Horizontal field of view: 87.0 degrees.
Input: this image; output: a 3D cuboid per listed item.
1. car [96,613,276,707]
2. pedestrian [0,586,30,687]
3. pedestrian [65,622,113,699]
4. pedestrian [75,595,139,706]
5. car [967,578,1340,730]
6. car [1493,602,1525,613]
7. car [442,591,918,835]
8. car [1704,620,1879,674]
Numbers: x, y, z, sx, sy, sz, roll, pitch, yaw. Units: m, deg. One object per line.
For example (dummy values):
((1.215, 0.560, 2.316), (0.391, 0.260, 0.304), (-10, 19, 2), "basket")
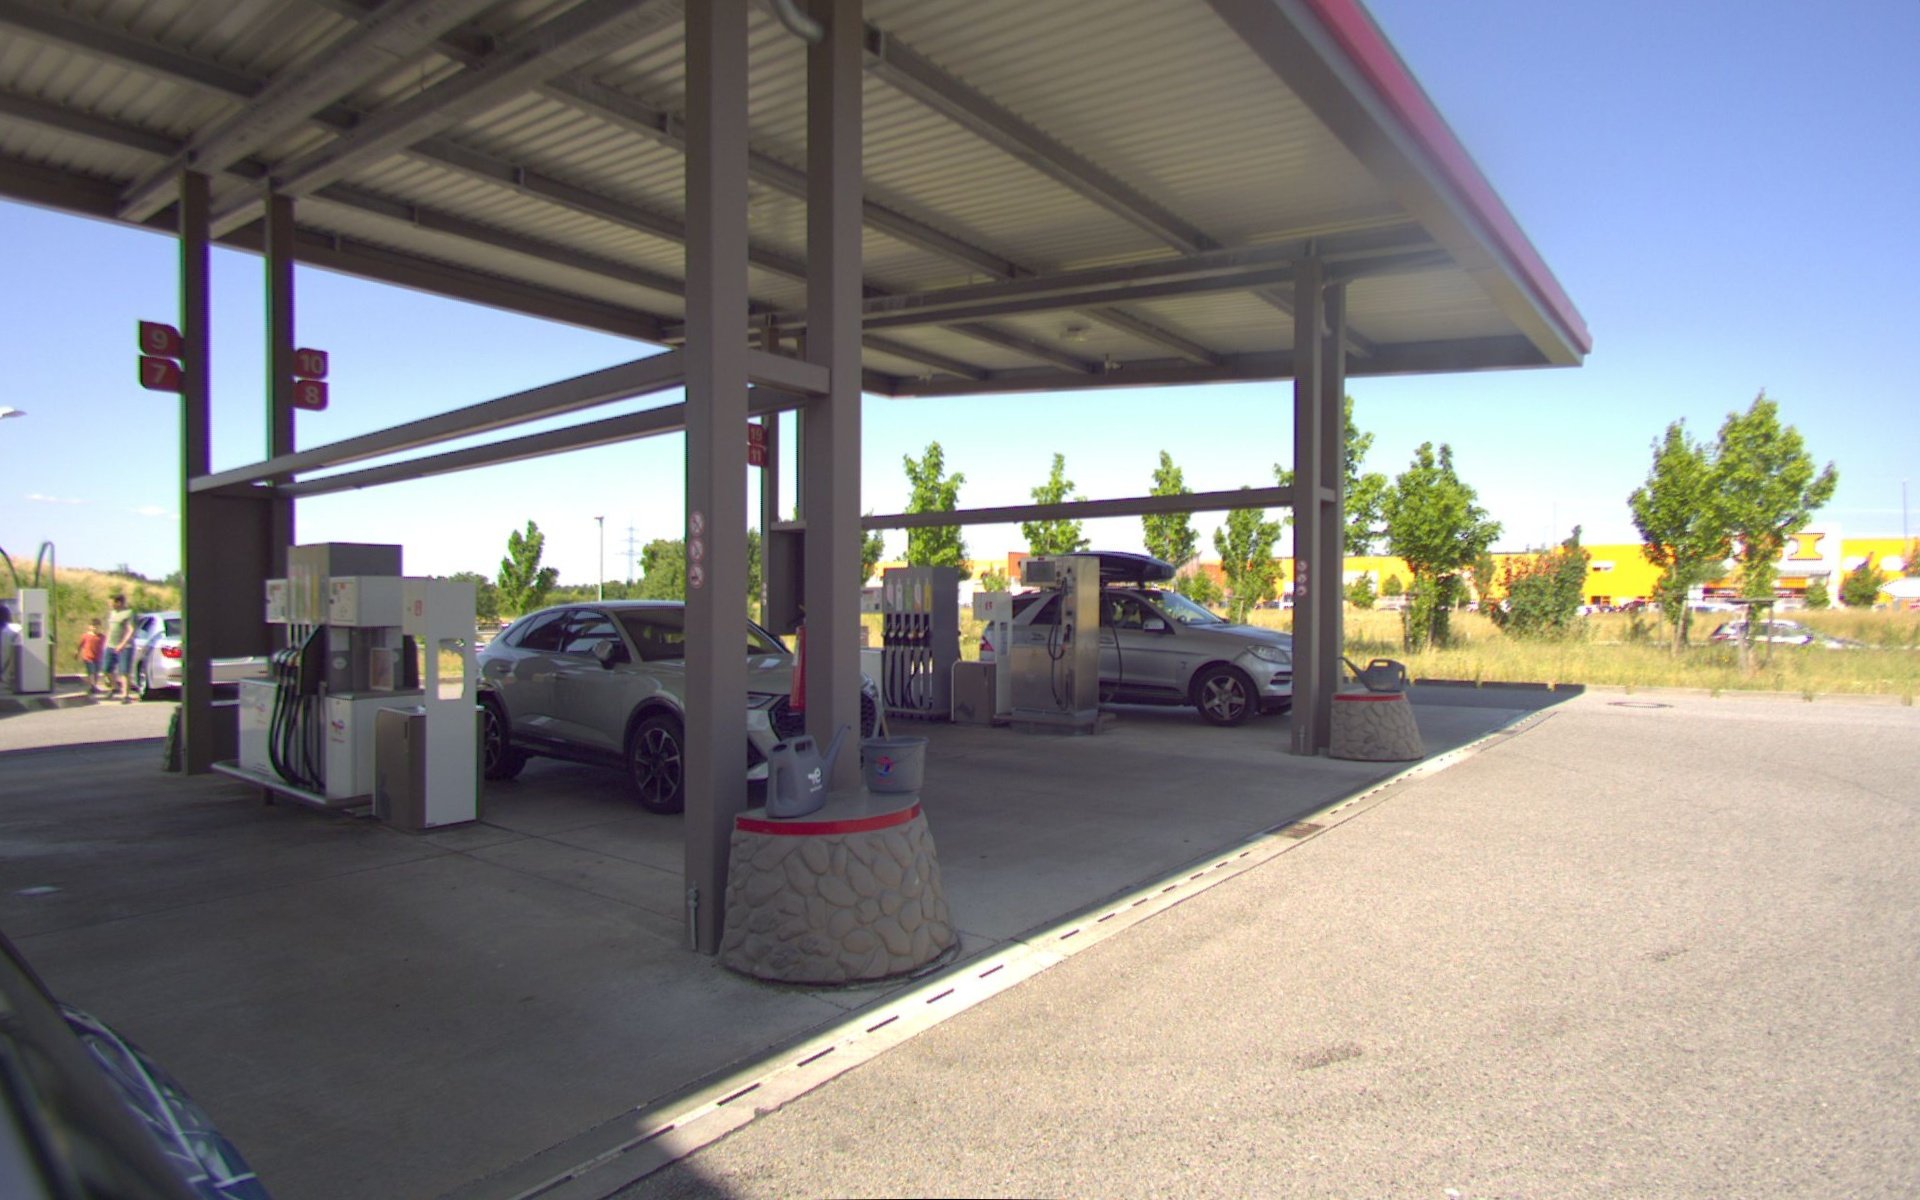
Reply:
((-14.096, 0.986, 18.338), (4.320, 1.439, 1.769), (0, 0, 41), "car")
((-17.353, 0.647, 18.071), (0.832, 1.783, 0.710), (-1, -1, -4), "pedestrian")
((-15.315, 1.047, 17.792), (0.669, 1.316, 0.570), (-1, -1, 42), "pedestrian")
((-14.029, 0.811, 16.641), (0.845, 1.762, 0.699), (-1, -1, 42), "pedestrian")
((2.458, 0.646, 13.464), (4.527, 1.700, 1.843), (-1, -1, 36), "car")
((61.821, 0.851, 113.930), (2.945, 1.309, 1.465), (-1, -1, 42), "car")
((-2.533, 0.755, 8.528), (4.322, 1.553, 1.762), (-1, -1, 40), "car")
((28.827, 1.582, 35.261), (4.576, 1.764, 1.766), (-1, -1, 39), "car")
